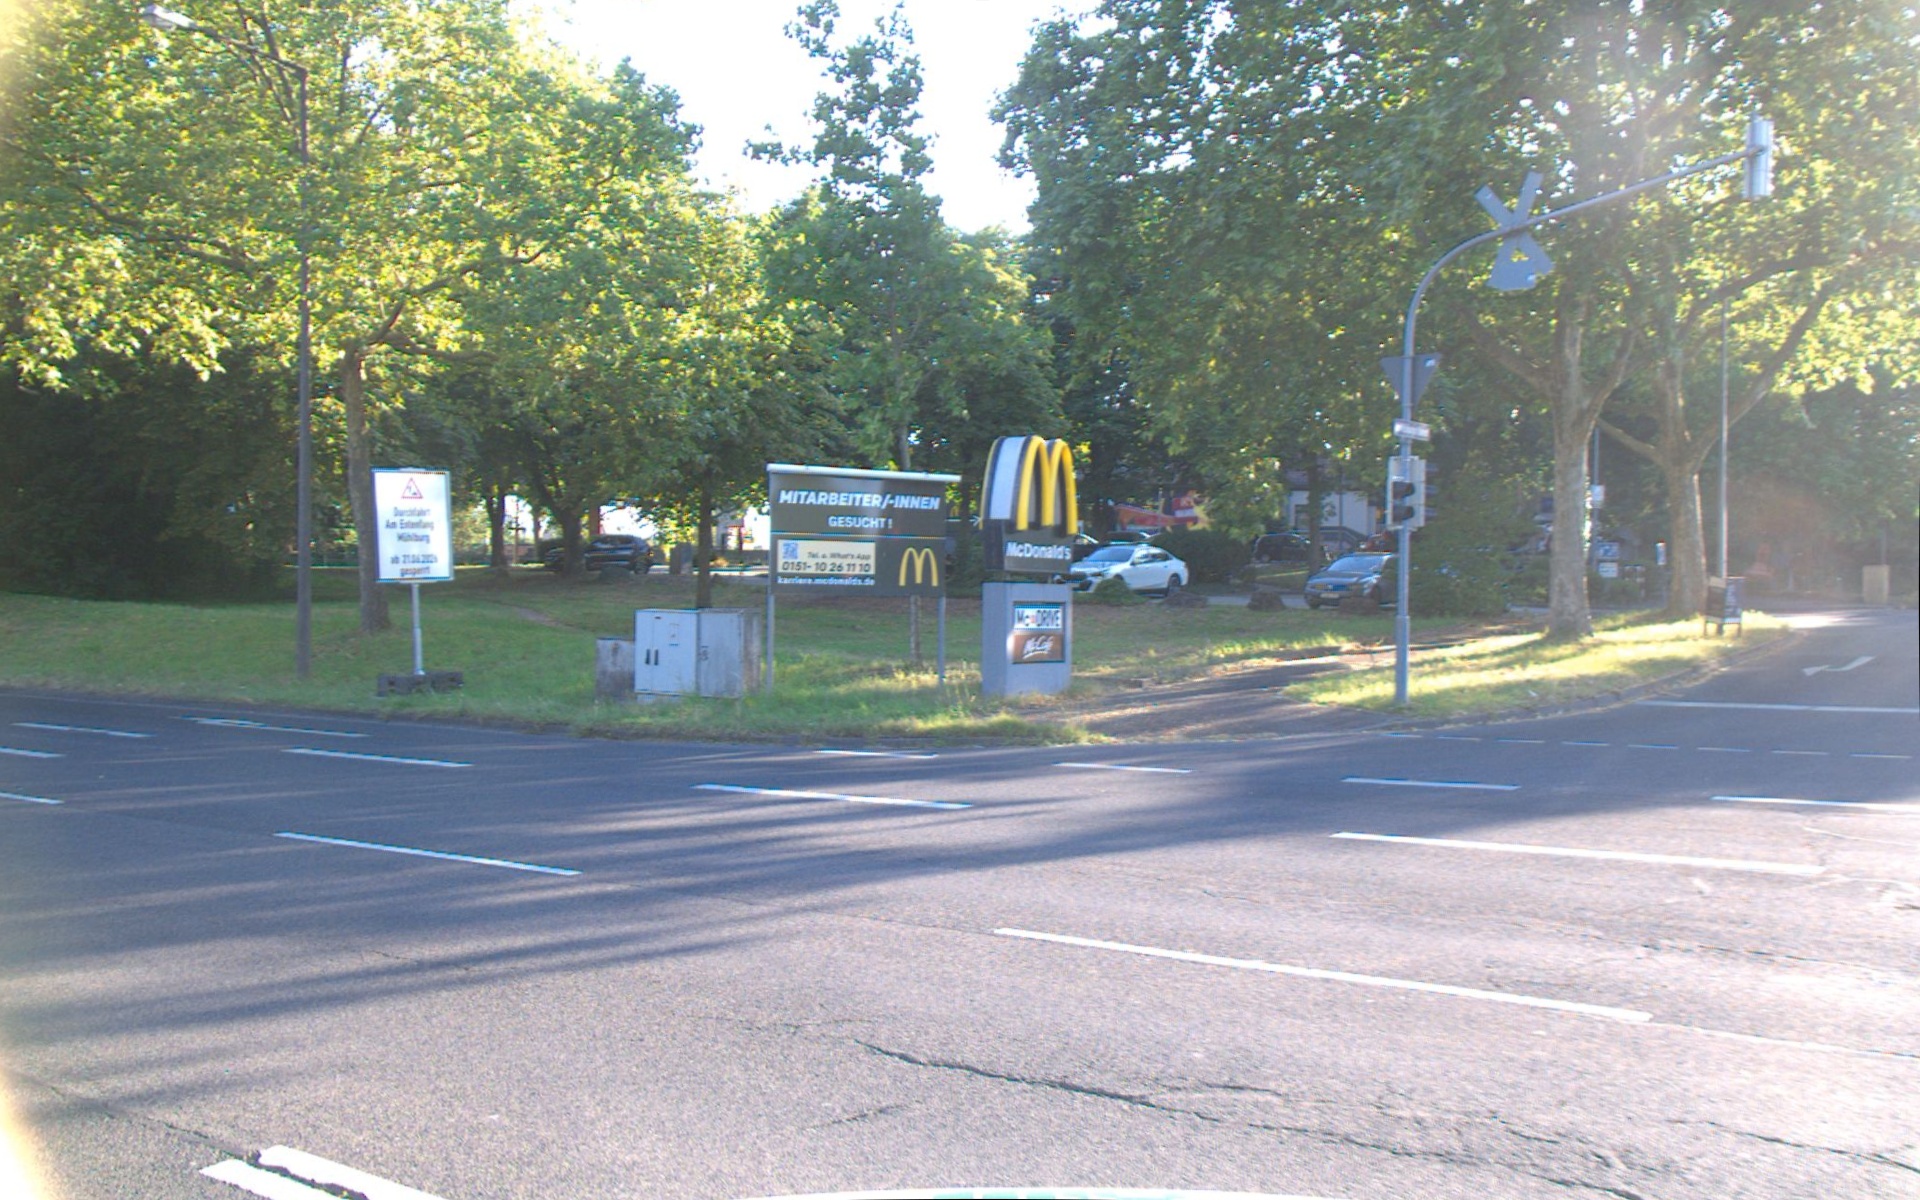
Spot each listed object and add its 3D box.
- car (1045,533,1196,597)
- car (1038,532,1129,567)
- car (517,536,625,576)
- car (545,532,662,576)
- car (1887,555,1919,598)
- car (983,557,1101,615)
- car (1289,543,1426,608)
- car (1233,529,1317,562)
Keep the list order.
[{"bbox_3d":[4.691,-1.022,47.776,1.963,1.736,4.873,1,2,40],"label":"car"},{"bbox_3d":[5.778,-2.348,77.376,3.903,1.579,1.809,0,1,18],"label":"car"},{"bbox_3d":[-15.975,-1.813,68.000,3.963,1.579,1.782,-1,1,-40],"label":"car"},{"bbox_3d":[-13.229,-1.697,61.511,1.775,1.579,3.978,0,1,41],"label":"car"},{"bbox_3d":[35.787,-0.893,61.506,1.815,1.579,3.984,1,2,37],"label":"car"},{"bbox_3d":[2.583,-0.454,51.064,1.789,1.717,4.215,0,1,32],"label":"car"},{"bbox_3d":[10.442,-0.655,43.229,2.002,1.601,4.386,0,1,36],"label":"car"},{"bbox_3d":[15.445,-2.660,81.014,3.903,1.579,1.809,0,1,17],"label":"car"}]
